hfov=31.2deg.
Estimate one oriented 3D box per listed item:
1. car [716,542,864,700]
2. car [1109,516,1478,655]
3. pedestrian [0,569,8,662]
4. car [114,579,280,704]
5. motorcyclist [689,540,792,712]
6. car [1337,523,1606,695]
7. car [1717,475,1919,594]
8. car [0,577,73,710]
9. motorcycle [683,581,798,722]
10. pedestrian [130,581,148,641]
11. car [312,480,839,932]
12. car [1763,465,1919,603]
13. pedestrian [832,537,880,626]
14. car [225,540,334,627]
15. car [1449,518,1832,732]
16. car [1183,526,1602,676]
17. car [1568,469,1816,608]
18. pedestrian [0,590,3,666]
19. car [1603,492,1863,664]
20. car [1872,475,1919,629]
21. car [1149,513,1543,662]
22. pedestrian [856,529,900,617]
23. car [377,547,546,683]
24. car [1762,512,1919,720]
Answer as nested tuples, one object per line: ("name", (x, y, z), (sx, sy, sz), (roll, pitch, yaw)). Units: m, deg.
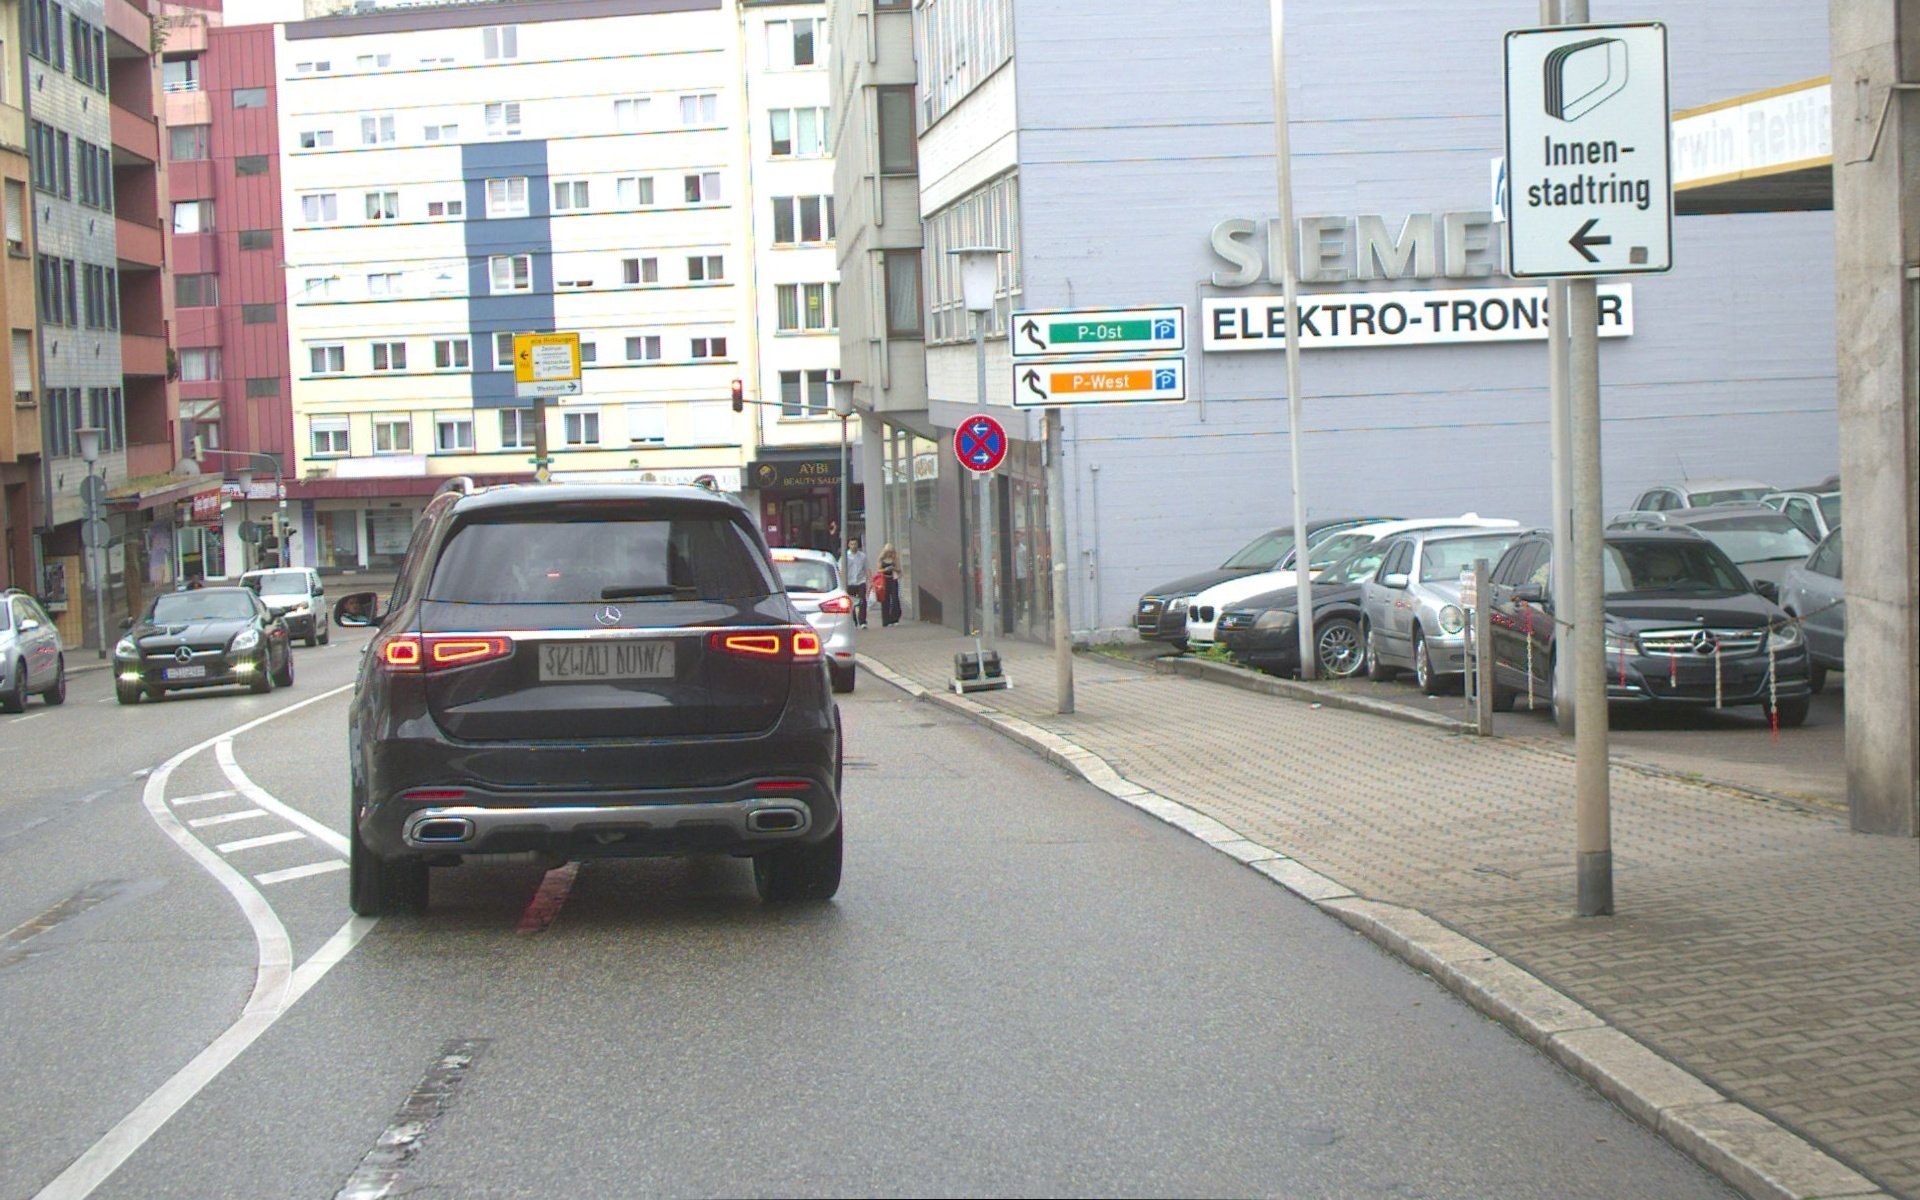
("car", (-1.935, 0.197, 38.571), (1.415, 1.645, 3.108), (-1, 2, -7))
("car", (3.964, -0.163, 40.922), (3.986, 1.592, 1.799), (0, -1, -23))
("pedestrian", (-17.718, 0.281, 62.445), (0.671, 1.646, 0.606), (-2, 5, -7))
("car", (-9.165, 0.460, 41.517), (1.714, 1.313, 4.145), (-2, 1, -10))
("motorcyclist", (-2.037, 0.238, 31.836), (0.866, 1.555, 0.764), (-2, 0, -7))
("car", (4.643, 0.043, 31.708), (1.565, 1.472, 4.070), (0, 1, -5))
("car", (9.579, -0.686, 37.400), (1.449, 1.198, 3.393), (0, 0, -10))
("car", (-12.133, 0.563, 42.087), (1.744, 1.533, 4.644), (-4, 0, -6))
("motorcycle", (-2.056, 0.447, 31.841), (0.867, 1.182, 2.562), (-2, 1, -7))
("pedestrian", (-20.551, 0.274, 86.064), (0.318, 1.469, 0.339), (-1, 5, 0))
("car", (-1.757, 0.371, 15.653), (2.020, 1.733, 4.748), (0, 1, -7))
("car", (11.178, -0.776, 41.994), (1.449, 1.592, 3.393), (0, 0, -10))
("pedestrian", (-1.921, -0.348, 63.491), (0.769, 1.606, 0.704), (-2, 3, -7))
("car", (-15.124, -0.392, 76.596), (1.869, 1.747, 4.400), (-4, 1, -6))
("car", (5.045, 0.132, 26.093), (1.796, 1.472, 4.486), (0, 1, -3))
("car", (4.501, 0.007, 35.813), (3.986, 1.489, 1.733), (0, -1, -23))
("car", (8.909, -0.721, 42.148), (1.644, 1.592, 3.868), (0, 0, -10))
("pedestrian", (-17.599, 0.368, 61.580), (0.739, 1.646, 0.606), (-2, 5, -7))
("car", (7.147, -0.180, 32.065), (1.527, 1.507, 3.392), (0, 0, -2))
("car", (10.251, -0.484, 33.180), (1.551, 1.507, 3.521), (0, 0, -8))
("car", (4.299, -0.130, 38.318), (3.986, 1.592, 1.799), (0, -1, -23))
("pedestrian", (-1.531, -0.503, 64.276), (0.717, 1.606, 0.611), (-2, 3, -7))
("car", (-5.937, 0.139, 41.022), (1.830, 1.456, 4.380), (-3, 1, -8))
("car", (7.602, 0.060, 26.557), (1.797, 1.472, 4.485), (-1, 1, 1))
